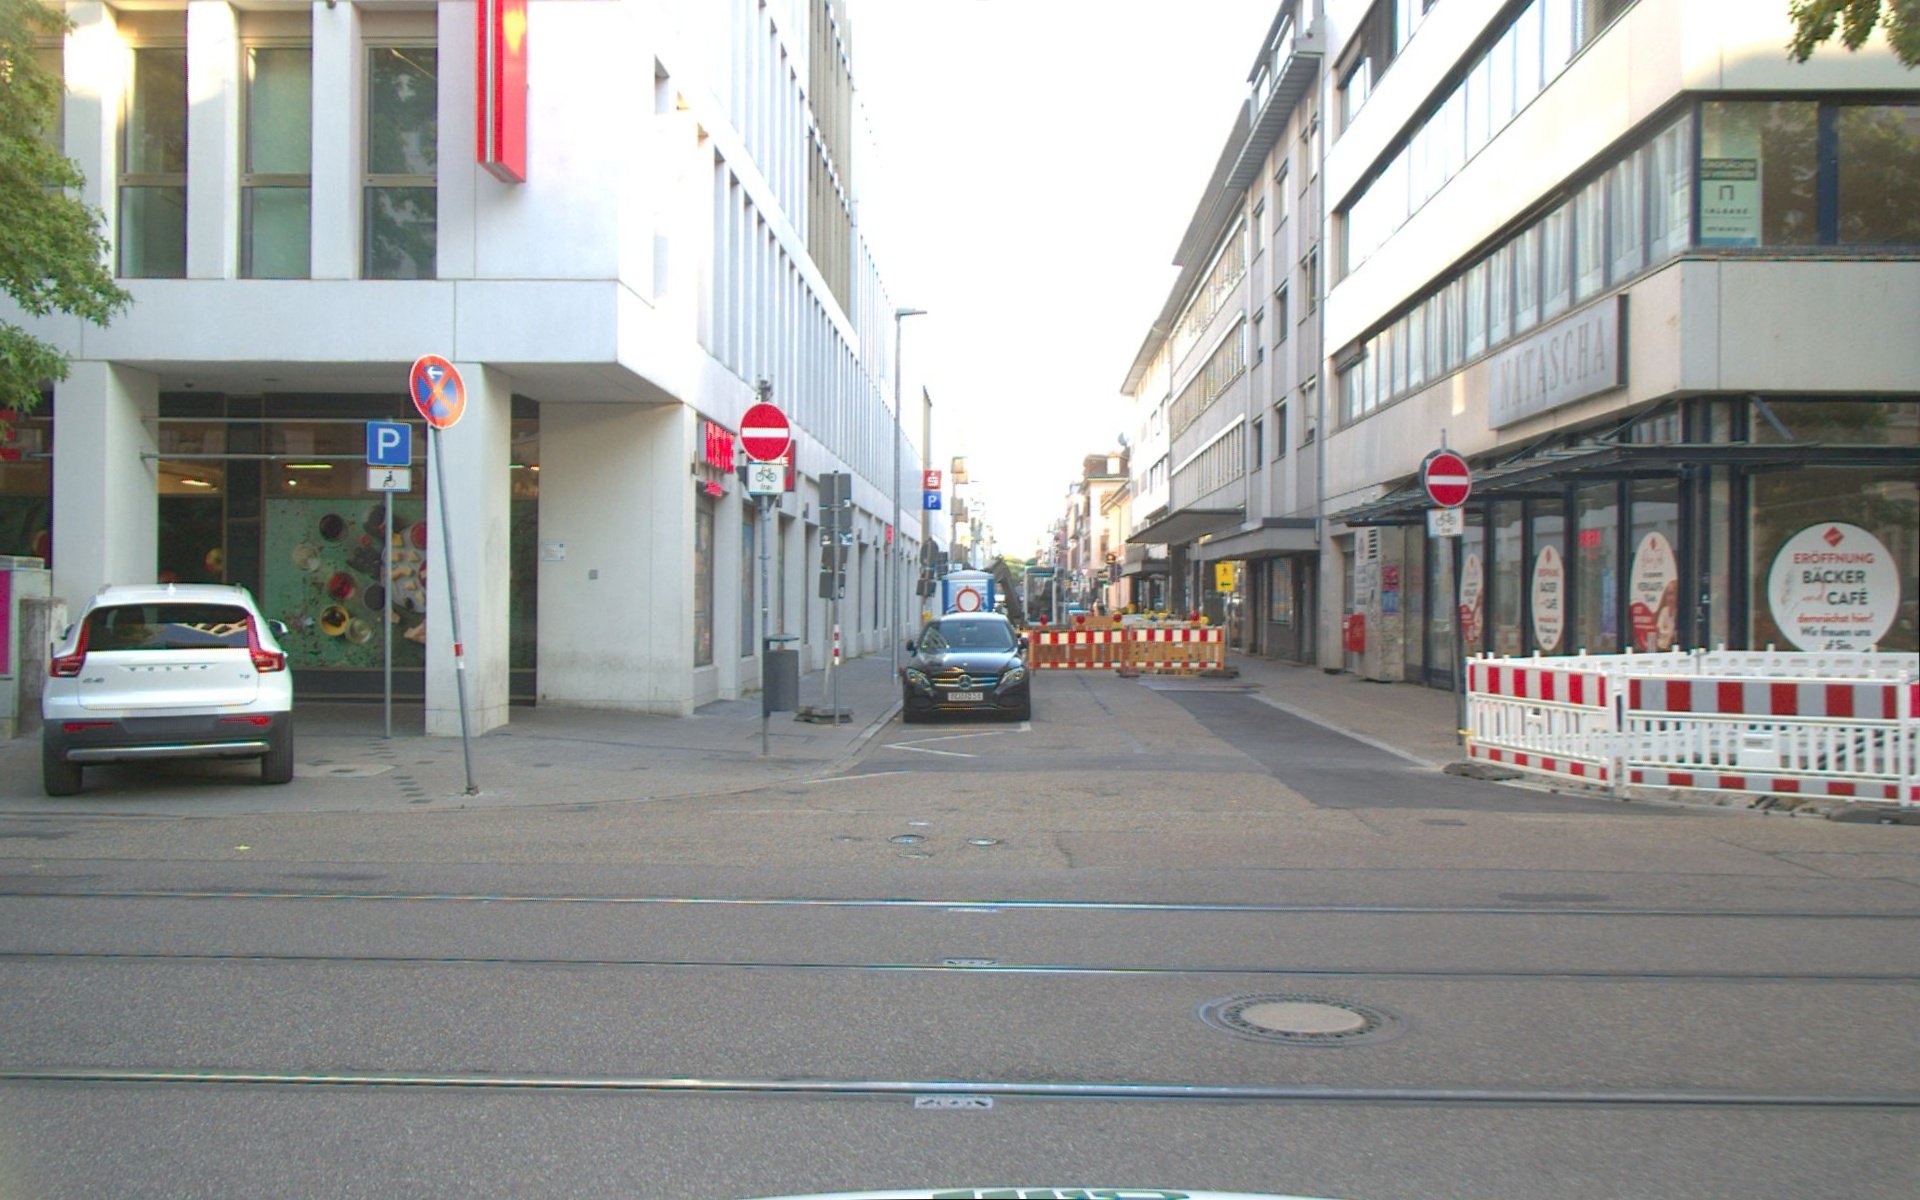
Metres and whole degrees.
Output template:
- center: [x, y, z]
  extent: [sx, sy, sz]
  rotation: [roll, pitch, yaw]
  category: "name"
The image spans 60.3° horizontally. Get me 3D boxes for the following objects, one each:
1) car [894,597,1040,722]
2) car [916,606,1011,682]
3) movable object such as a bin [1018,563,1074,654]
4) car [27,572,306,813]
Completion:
- center: [0.194, 0.813, 24.012]
  extent: [1.857, 1.641, 4.154]
  rotation: [-1, -1, 4]
  category: "car"
- center: [0.127, 0.892, 35.046]
  extent: [1.736, 1.501, 4.154]
  rotation: [-1, -1, 4]
  category: "car"
- center: [2.483, 0.238, 47.491]
  extent: [1.406, 2.537, 1.759]
  rotation: [0, 0, 10]
  category: "movable object such as a bin"
- center: [-6.945, 0.662, 14.827]
  extent: [1.919, 1.701, 4.244]
  rotation: [-2, 3, -23]
  category: "car"
